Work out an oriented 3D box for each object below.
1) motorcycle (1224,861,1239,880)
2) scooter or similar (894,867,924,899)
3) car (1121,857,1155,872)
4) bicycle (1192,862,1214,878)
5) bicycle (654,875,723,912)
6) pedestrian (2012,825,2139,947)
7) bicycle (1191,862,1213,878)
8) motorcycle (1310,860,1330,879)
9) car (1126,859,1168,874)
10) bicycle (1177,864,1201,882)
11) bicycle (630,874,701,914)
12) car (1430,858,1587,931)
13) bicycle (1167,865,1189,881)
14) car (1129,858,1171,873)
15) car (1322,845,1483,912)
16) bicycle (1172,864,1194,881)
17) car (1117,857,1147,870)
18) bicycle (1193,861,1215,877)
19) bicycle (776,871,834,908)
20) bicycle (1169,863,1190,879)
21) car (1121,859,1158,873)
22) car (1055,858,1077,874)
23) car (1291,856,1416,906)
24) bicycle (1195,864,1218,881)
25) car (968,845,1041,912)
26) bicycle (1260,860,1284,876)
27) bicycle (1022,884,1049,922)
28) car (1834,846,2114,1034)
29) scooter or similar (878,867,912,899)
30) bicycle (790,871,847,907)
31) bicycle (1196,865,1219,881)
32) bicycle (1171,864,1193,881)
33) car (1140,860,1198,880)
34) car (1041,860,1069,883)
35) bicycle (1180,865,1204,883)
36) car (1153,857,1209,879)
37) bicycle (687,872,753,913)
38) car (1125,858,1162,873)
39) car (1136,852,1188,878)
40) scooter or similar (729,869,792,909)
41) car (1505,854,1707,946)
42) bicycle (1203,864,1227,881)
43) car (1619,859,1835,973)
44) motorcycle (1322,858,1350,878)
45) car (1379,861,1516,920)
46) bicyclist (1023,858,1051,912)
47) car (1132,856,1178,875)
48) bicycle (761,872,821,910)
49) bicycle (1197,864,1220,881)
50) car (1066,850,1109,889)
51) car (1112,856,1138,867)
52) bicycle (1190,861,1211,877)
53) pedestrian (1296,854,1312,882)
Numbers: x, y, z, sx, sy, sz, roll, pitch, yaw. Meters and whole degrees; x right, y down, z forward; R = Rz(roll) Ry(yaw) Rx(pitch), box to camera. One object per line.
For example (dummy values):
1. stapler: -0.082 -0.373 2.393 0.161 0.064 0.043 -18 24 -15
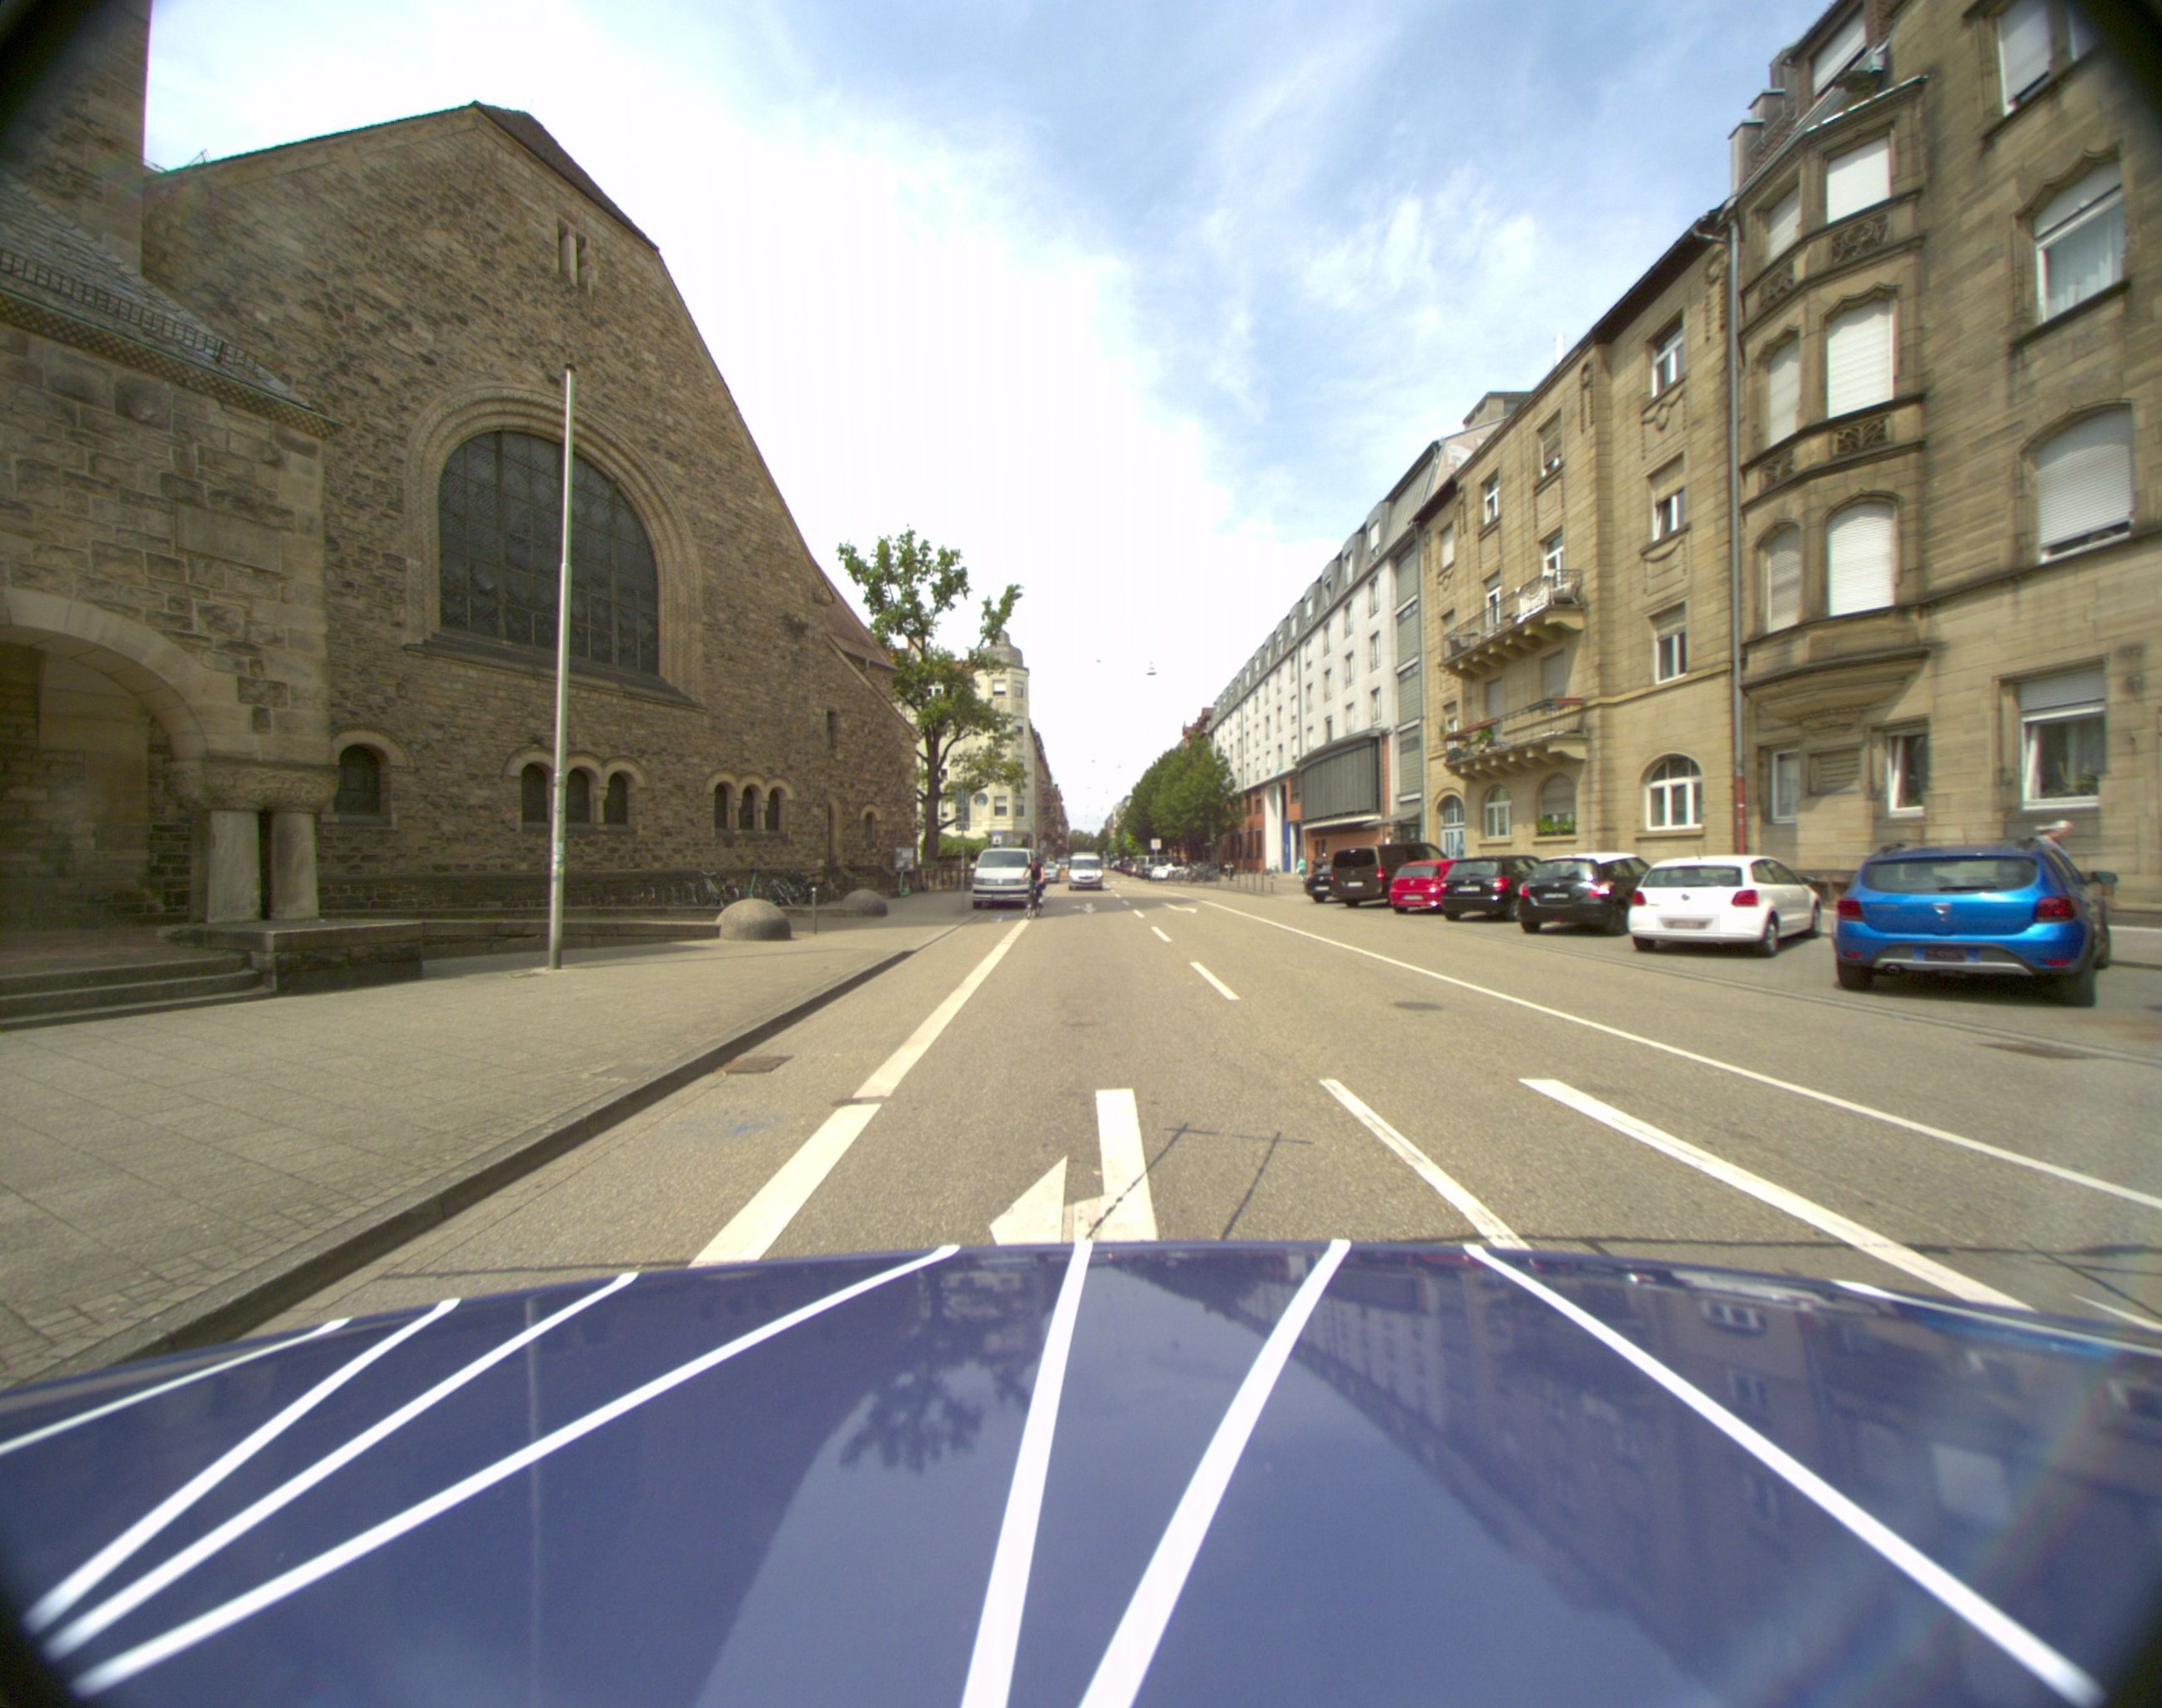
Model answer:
1. motorcycle: 9.559 1.012 48.250 0.585 1.165 1.780 -2 0 2
2. scooter or similar: -6.635 1.112 29.339 0.545 1.200 1.444 0 0 14
3. car: 7.118 1.289 94.889 4.052 1.846 1.687 -1 -1 -33
4. bicycle: 8.227 1.057 51.375 1.409 1.020 0.402 -2 0 2
5. bicycle: -10.508 1.051 20.340 1.778 0.951 0.547 0 0 19
6. pedestrian: 13.697 0.424 10.481 0.793 1.585 0.679 -3 0 0
7. bicycle: 8.265 1.088 52.068 1.409 1.020 0.402 -2 0 2
8. motorcycle: 14.087 0.911 44.879 0.585 1.042 1.657 -2 0 -1
9. car: 6.764 1.259 77.770 4.013 1.445 1.687 -1 -1 -33
10. bicycle: 6.881 1.213 48.432 1.409 1.032 0.402 -3 0 2
11. bicycle: -10.784 1.014 19.720 1.778 0.951 0.547 1 1 19
12. car: 10.209 0.886 18.060 4.004 1.494 1.627 -1 0 -35
13. bicycle: 6.801 1.300 53.157 1.409 1.020 0.402 -3 0 2
14. car: 6.863 1.125 75.558 4.013 1.381 1.593 -1 -1 -33
15. car: 10.195 0.699 23.970 5.280 1.898 2.116 -1 0 -34
16. bicycle: 6.772 1.233 50.434 1.409 1.032 0.402 -3 0 2
17. car: 7.201 1.351 108.013 4.013 1.846 1.687 -1 -1 -33
18. bicycle: 8.225 1.008 50.889 1.409 1.020 0.402 -2 0 2
19. bicycle: -8.715 1.109 23.997 1.771 1.105 0.547 0 0 19
20. bicycle: 6.783 1.139 52.349 1.409 1.020 0.402 -3 0 2
21. car: 6.833 1.368 88.562 4.013 1.558 1.687 -1 -1 -33
22. car: -1.572 1.252 79.484 1.853 1.661 4.008 -1 -1 4
23. car: 9.692 0.929 26.893 4.679 1.401 1.895 -4 0 -38
24. bicycle: 8.285 1.217 50.073 1.409 1.020 0.402 -2 0 2
25. car: -2.452 0.739 25.603 2.019 2.017 5.122 0 0 -1
26. bicycle: 14.014 1.027 55.861 1.613 0.920 0.932 -7 -1 12
27. bicycle: -1.207 1.290 20.430 0.586 0.927 1.783 -1 -1 1
28. car: 10.081 0.758 8.510 3.785 1.642 1.720 -1 0 -36
29. scooter or similar: -7.248 1.100 29.639 0.545 1.200 1.483 0 0 20
30. bicycle: -8.512 1.124 24.615 1.778 1.105 0.547 0 0 19
31. bicycle: 8.247 1.220 49.586 1.409 1.020 0.402 -2 0 2
32. bicycle: 6.772 1.256 51.076 1.409 1.020 0.402 -3 0 2
33. car: 6.772 1.221 58.603 4.324 1.460 1.713 -1 0 -33
34. car: -1.700 1.166 51.182 1.759 1.459 4.418 0 -1 -1
35. bicycle: 6.961 1.239 47.537 1.409 1.032 0.402 -3 0 2
36. car: 7.434 1.035 56.116 4.013 1.536 1.598 -1 0 -34
37. bicycle: -10.065 1.054 21.191 1.778 1.105 0.547 0 0 19
38. car: 7.111 1.319 86.039 4.013 1.558 1.687 -1 -1 -33
39. car: 6.858 0.945 64.429 4.012 1.986 1.857 -3 1 -31
40. scooter or similar: -9.422 1.026 22.318 1.778 1.133 0.547 0 0 19
41. car: 10.422 0.809 15.028 4.019 1.555 1.792 -1 0 -32
42. bicycle: 8.422 1.176 47.806 1.409 1.020 0.402 -2 0 2
43. car: 10.226 0.855 11.971 3.693 1.473 1.737 -1 0 -36
44. motorcycle: 14.255 0.776 42.524 0.585 1.042 1.965 -2 0 -11
45. car: 10.059 0.918 20.755 4.020 1.401 1.792 -1 0 -38
46. bicyclist: -1.189 0.811 20.557 0.649 1.408 1.094 -1 0 1
47. car: 6.849 1.073 69.988 4.013 1.605 1.708 -1 -1 -33
48. bicycle: -8.942 1.127 23.421 1.778 1.105 0.547 0 0 19
49. bicycle: 8.221 1.206 49.050 1.409 1.020 0.402 -2 0 2
50. car: 0.375 0.802 39.758 1.942 1.912 4.008 -1 -1 4
51. car: 7.280 1.226 126.125 4.013 1.746 1.687 -1 -1 -33
52. bicycle: 8.287 1.045 52.659 1.409 1.020 0.402 -2 0 2
53. pedestrian: 11.989 0.769 40.893 0.662 1.477 0.509 -1 0 -1
